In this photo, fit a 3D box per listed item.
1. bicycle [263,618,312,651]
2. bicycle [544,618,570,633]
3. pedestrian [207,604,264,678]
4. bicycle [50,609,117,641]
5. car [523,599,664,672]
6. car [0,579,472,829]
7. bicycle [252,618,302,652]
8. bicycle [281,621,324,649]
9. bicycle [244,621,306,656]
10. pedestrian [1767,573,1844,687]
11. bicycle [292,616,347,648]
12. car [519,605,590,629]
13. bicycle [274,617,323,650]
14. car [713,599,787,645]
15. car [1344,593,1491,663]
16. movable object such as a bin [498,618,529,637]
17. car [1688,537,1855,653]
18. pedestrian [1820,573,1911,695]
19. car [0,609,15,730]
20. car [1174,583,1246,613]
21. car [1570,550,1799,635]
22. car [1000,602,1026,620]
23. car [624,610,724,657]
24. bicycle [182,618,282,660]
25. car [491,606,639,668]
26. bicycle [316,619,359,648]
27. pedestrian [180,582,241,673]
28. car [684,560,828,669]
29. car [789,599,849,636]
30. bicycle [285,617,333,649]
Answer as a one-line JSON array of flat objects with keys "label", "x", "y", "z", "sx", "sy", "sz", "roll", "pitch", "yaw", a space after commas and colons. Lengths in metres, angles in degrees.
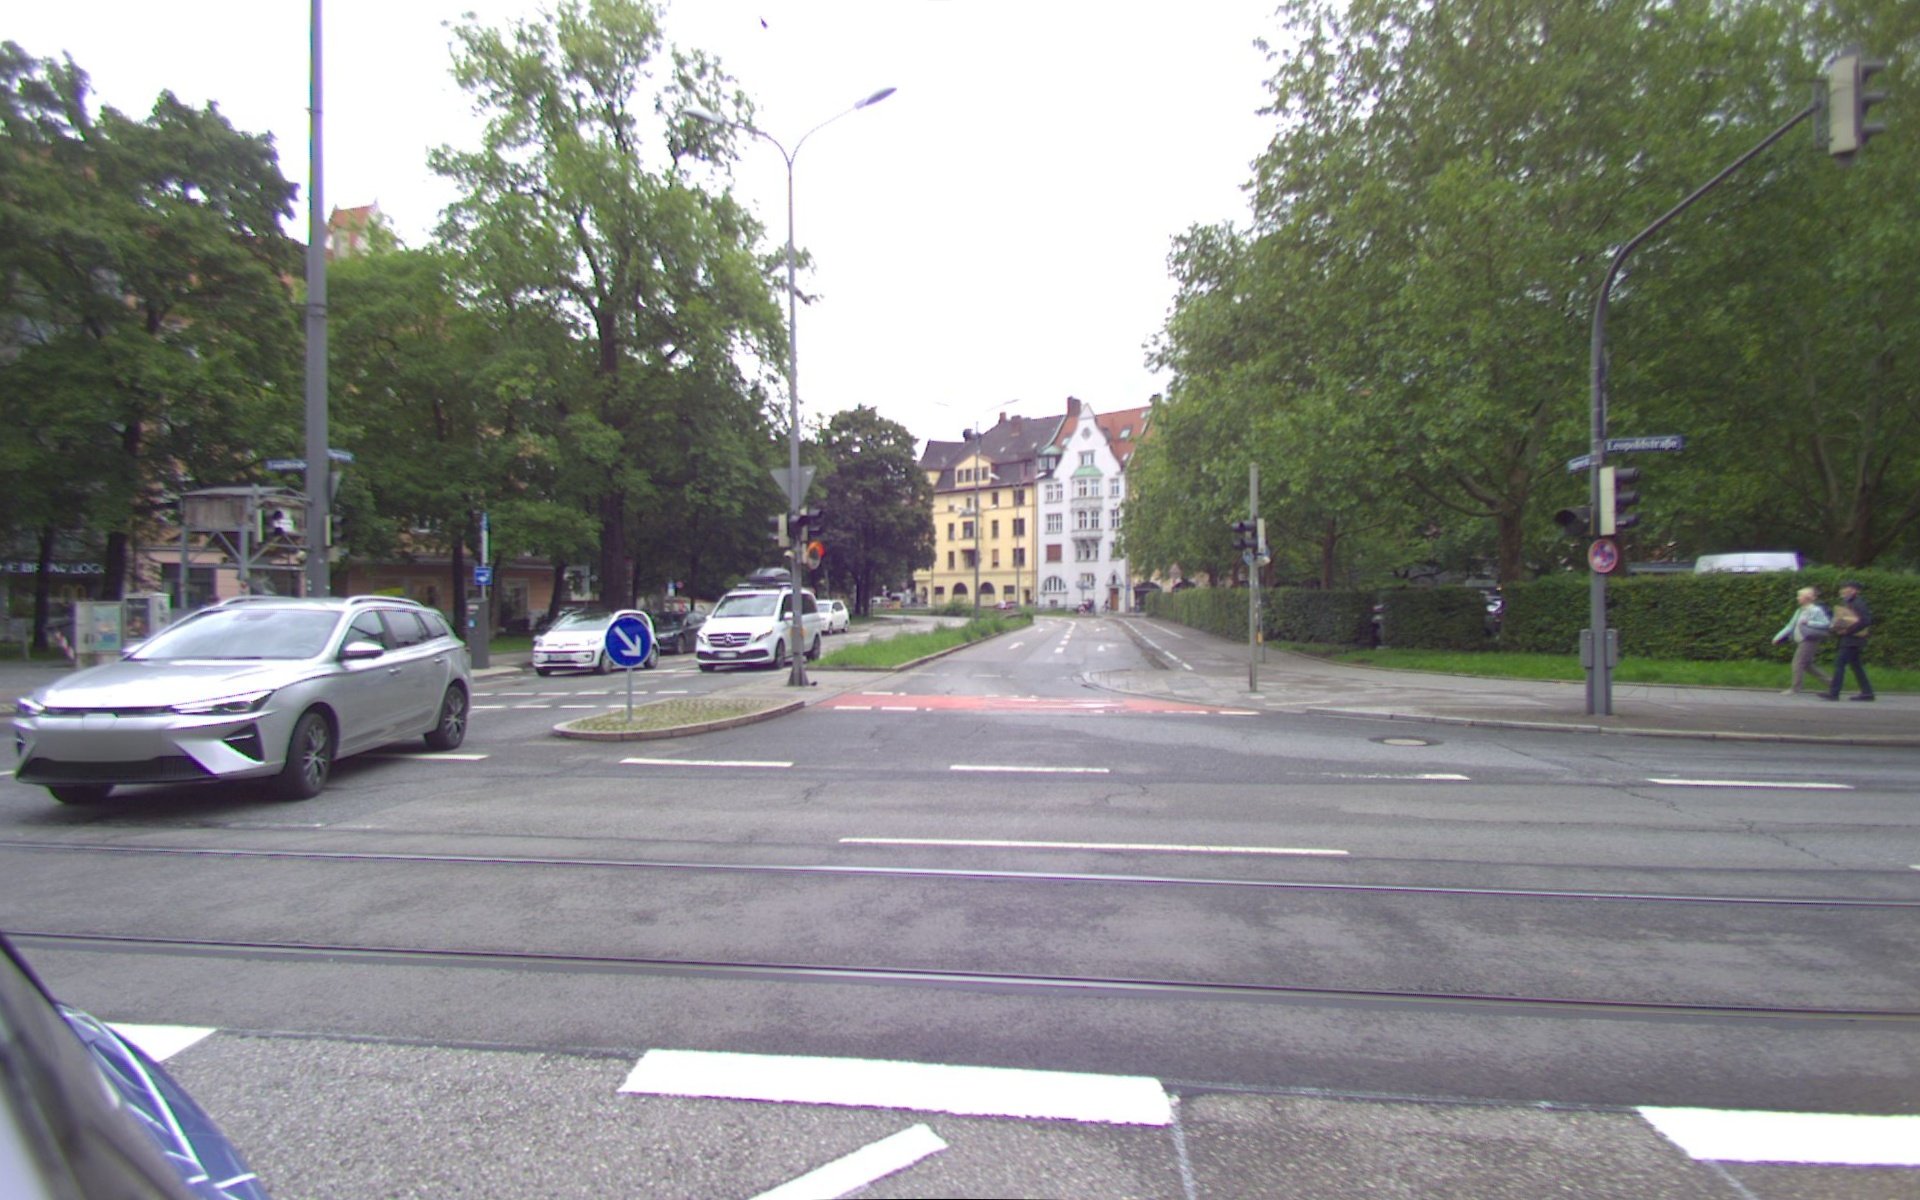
[{"label": "bicycle", "x": -19.337, "y": 0.985, "z": 29.096, "sx": 1.399, "sy": 0.900, "sz": 0.312, "roll": -2, "pitch": 0, "yaw": 15}, {"label": "bicycle", "x": -20.510, "y": 1.289, "z": 51.460, "sx": 1.160, "sy": 0.729, "sz": 0.320, "roll": -2, "pitch": 0, "yaw": -38}, {"label": "pedestrian", "x": -14.239, "y": 0.795, "z": 19.902, "sx": 0.712, "sy": 1.415, "sz": 0.544, "roll": 1, "pitch": 1, "yaw": 7}, {"label": "bicycle", "x": -39.618, "y": 1.119, "z": 45.782, "sx": 0.507, "sy": 1.299, "sz": 2.216, "roll": -2, "pitch": 0, "yaw": 44}, {"label": "car", "x": -8.520, "y": 0.766, "z": 23.914, "sx": 1.752, "sy": 1.536, "sz": 4.207, "roll": -2, "pitch": 0, "yaw": 1}, {"label": "car", "x": -5.798, "y": 0.662, "z": 8.489, "sx": 1.749, "sy": 1.536, "sz": 4.214, "roll": -2, "pitch": 0, "yaw": -6}, {"label": "bicycle", "x": -19.417, "y": 0.990, "z": 28.762, "sx": 1.399, "sy": 0.900, "sz": 0.312, "roll": -2, "pitch": 0, "yaw": 15}, {"label": "bicycle", "x": -22.527, "y": 1.188, "z": 34.697, "sx": 0.310, "sy": 0.900, "sz": 1.406, "roll": -2, "pitch": 0, "yaw": 13}, {"label": "bicycle", "x": -18.623, "y": 1.036, "z": 27.531, "sx": 0.312, "sy": 0.900, "sz": 1.396, "roll": -2, "pitch": -1, "yaw": 33}, {"label": "pedestrian", "x": 12.716, "y": 0.445, "z": 15.228, "sx": 0.546, "sy": 1.676, "sz": 0.686, "roll": 0, "pitch": 0, "yaw": -5}, {"label": "bicycle", "x": -19.336, "y": 0.977, "z": 30.580, "sx": 1.391, "sy": 0.900, "sz": 0.313, "roll": -2, "pitch": 0, "yaw": -6}, {"label": "car", "x": -28.225, "y": 1.172, "z": 70.449, "sx": 4.405, "sy": 1.477, "sz": 1.851, "roll": -2, "pitch": 0, "yaw": 18}, {"label": "bicycle", "x": -19.260, "y": 0.980, "z": 29.454, "sx": 1.399, "sy": 0.900, "sz": 0.312, "roll": -2, "pitch": 0, "yaw": 15}, {"label": "car", "x": -8.653, "y": 0.874, "z": 42.059, "sx": 1.912, "sy": 1.833, "sz": 4.549, "roll": 0, "pitch": 0, "yaw": 4}, {"label": "car", "x": 13.127, "y": 0.766, "z": 29.095, "sx": 3.463, "sy": 1.776, "sz": 1.783, "roll": -2, "pitch": 0, "yaw": -15}, {"label": "movable object such as a bin", "x": -21.621, "y": 1.337, "z": 48.977, "sx": 1.171, "sy": 0.879, "sz": 0.770, "roll": 0, "pitch": 0, "yaw": 16}, {"label": "car", "x": 17.521, "y": -0.011, "z": 21.783, "sx": 4.556, "sy": 2.029, "sz": 2.003, "roll": 6, "pitch": -5, "yaw": -41}, {"label": "pedestrian", "x": 12.815, "y": 0.469, "z": 14.337, "sx": 0.652, "sy": 1.676, "sz": 0.686, "roll": 0, "pitch": 0, "yaw": -5}, {"label": "car", "x": -13.278, "y": 0.814, "z": 10.677, "sx": 1.729, "sy": 1.400, "sz": 4.731, "roll": -1, "pitch": 0, "yaw": 43}, {"label": "car", "x": 22.872, "y": -0.147, "z": 92.602, "sx": 5.985, "sy": 2.609, "sz": 2.114, "roll": 1, "pitch": -1, "yaw": -8}, {"label": "car", "x": 24.059, "y": -0.238, "z": 33.859, "sx": 5.801, "sy": 2.554, "sz": 1.993, "roll": -2, "pitch": 0, "yaw": 11}, {"label": "car", "x": 5.043, "y": 1.041, "z": 95.785, "sx": 2.085, "sy": 1.650, "sz": 4.928, "roll": 0, "pitch": -1, "yaw": 7}, {"label": "car", "x": -9.756, "y": 1.119, "z": 34.953, "sx": 1.751, "sy": 1.472, "sz": 4.634, "roll": 0, "pitch": 0, "yaw": 6}, {"label": "bicycle", "x": -19.741, "y": 1.048, "z": 27.474, "sx": 2.207, "sy": 1.024, "sz": 0.631, "roll": -2, "pitch": 0, "yaw": -2}, {"label": "car", "x": -10.841, "y": 0.956, "z": 28.152, "sx": 1.815, "sy": 1.561, "sz": 4.542, "roll": 0, "pitch": 0, "yaw": 9}, {"label": "bicycle", "x": -21.051, "y": 1.135, "z": 34.240, "sx": 0.310, "sy": 0.900, "sz": 1.406, "roll": -2, "pitch": 0, "yaw": 13}, {"label": "pedestrian", "x": -14.309, "y": 0.520, "z": 19.329, "sx": 0.712, "sy": 1.673, "sz": 0.544, "roll": 3, "pitch": 1, "yaw": 7}, {"label": "car", "x": -4.754, "y": 0.325, "z": 24.423, "sx": 1.892, "sy": 2.369, "sz": 4.932, "roll": 0, "pitch": 0, "yaw": 8}, {"label": "car", "x": -7.348, "y": 0.889, "z": 53.290, "sx": 1.828, "sy": 1.870, "sz": 5.012, "roll": 0, "pitch": 0, "yaw": 8}, {"label": "bicycle", "x": -19.195, "y": 0.976, "z": 29.838, "sx": 1.399, "sy": 0.900, "sz": 0.312, "roll": -2, "pitch": 0, "yaw": 15}]
